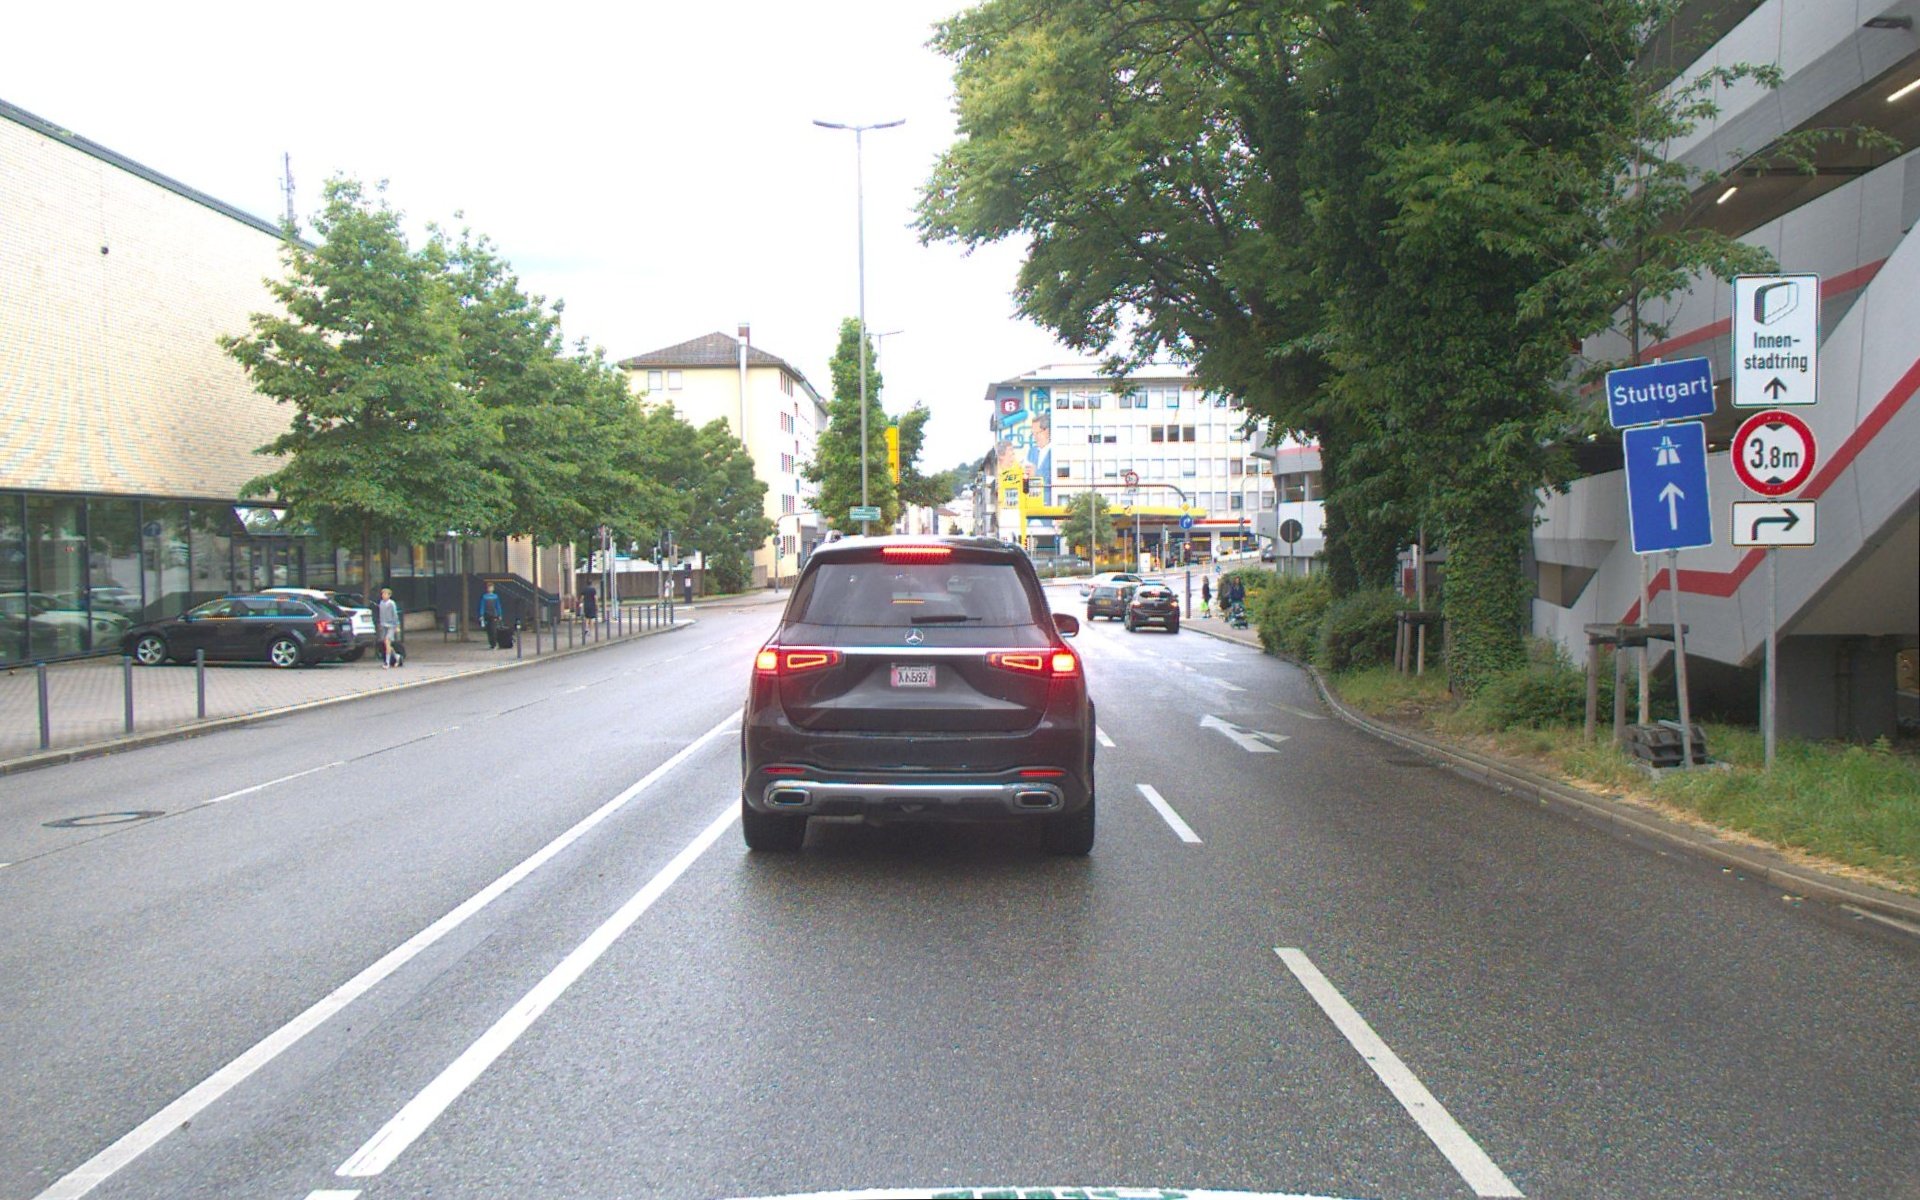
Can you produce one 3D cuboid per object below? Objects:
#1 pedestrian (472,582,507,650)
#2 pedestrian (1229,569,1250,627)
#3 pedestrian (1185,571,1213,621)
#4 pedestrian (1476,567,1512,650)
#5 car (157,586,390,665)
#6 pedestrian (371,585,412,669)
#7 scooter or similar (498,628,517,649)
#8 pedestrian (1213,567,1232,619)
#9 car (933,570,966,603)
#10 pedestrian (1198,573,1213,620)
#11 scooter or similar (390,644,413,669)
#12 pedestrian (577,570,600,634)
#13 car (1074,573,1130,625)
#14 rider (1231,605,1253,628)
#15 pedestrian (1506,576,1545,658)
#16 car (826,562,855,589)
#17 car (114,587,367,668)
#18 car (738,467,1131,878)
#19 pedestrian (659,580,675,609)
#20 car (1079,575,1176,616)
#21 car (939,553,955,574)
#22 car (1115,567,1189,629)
[{"bbox_3d":[-12.517,0.431,43.993,0.674,1.756,0.754,1,-3,-1],"label":"pedestrian"},{"bbox_3d":[9.651,-0.068,57.104,0.648,1.951,0.729,1,-1,7],"label":"pedestrian"},{"bbox_3d":[10.001,-0.165,69.262,1.004,2.049,0.999,1,0,-1],"label":"pedestrian"},{"bbox_3d":[10.197,0.156,31.596,0.539,1.559,0.488,1,-1,6],"label":"pedestrian"},{"bbox_3d":[-15.014,0.551,36.377,4.331,1.601,1.998,1,2,-7],"label":"car"},{"bbox_3d":[-11.891,0.563,34.625,0.662,1.727,0.479,1,0,0],"label":"pedestrian"},{"bbox_3d":[-12.245,1.042,44.756,0.352,0.545,0.499,1,-1,-1],"label":"scooter or similar"},{"bbox_3d":[9.990,-0.270,62.907,0.607,1.969,0.610,1,-1,0],"label":"pedestrian"},{"bbox_3d":[-0.706,-0.854,107.054,1.954,2.049,3.998,1,0,-3],"label":"car"},{"bbox_3d":[10.155,-0.151,68.449,0.509,1.944,0.556,1,-1,0],"label":"pedestrian"},{"bbox_3d":[-11.812,1.193,35.008,0.274,0.509,0.616,1,0,0],"label":"scooter or similar"},{"bbox_3d":[-12.176,0.071,54.201,0.576,2.049,0.749,1,-1,-2],"label":"pedestrian"},{"bbox_3d":[5.794,-0.018,67.979,1.952,2.049,4.000,1,0,0],"label":"car"},{"bbox_3d":[9.603,0.551,56.349,0.679,0.753,0.633,1,0,8],"label":"rider"},{"bbox_3d":[10.757,0.321,31.487,0.569,1.527,0.504,1,-1,4],"label":"pedestrian"},{"bbox_3d":[-8.922,-1.802,123.913,1.953,1.908,5.140,1,0,-2],"label":"car"},{"bbox_3d":[-14.812,0.543,34.276,4.382,1.615,1.997,0,0,-7],"label":"car"},{"bbox_3d":[-0.170,0.379,10.381,1.953,2.049,3.999,1,0,-1],"label":"car"},{"bbox_3d":[-15.399,-0.302,86.968,0.697,1.487,0.598,1,-1,-1],"label":"pedestrian"},{"bbox_3d":[8.742,-0.259,86.392,4.714,2.049,1.997,0,1,-8],"label":"car"},{"bbox_3d":[-1.711,-4.754,213.644,1.953,2.045,4.007,1,11,-1],"label":"car"},{"bbox_3d":[6.550,-0.091,56.794,1.953,2.049,3.999,0,1,-2],"label":"car"}]
